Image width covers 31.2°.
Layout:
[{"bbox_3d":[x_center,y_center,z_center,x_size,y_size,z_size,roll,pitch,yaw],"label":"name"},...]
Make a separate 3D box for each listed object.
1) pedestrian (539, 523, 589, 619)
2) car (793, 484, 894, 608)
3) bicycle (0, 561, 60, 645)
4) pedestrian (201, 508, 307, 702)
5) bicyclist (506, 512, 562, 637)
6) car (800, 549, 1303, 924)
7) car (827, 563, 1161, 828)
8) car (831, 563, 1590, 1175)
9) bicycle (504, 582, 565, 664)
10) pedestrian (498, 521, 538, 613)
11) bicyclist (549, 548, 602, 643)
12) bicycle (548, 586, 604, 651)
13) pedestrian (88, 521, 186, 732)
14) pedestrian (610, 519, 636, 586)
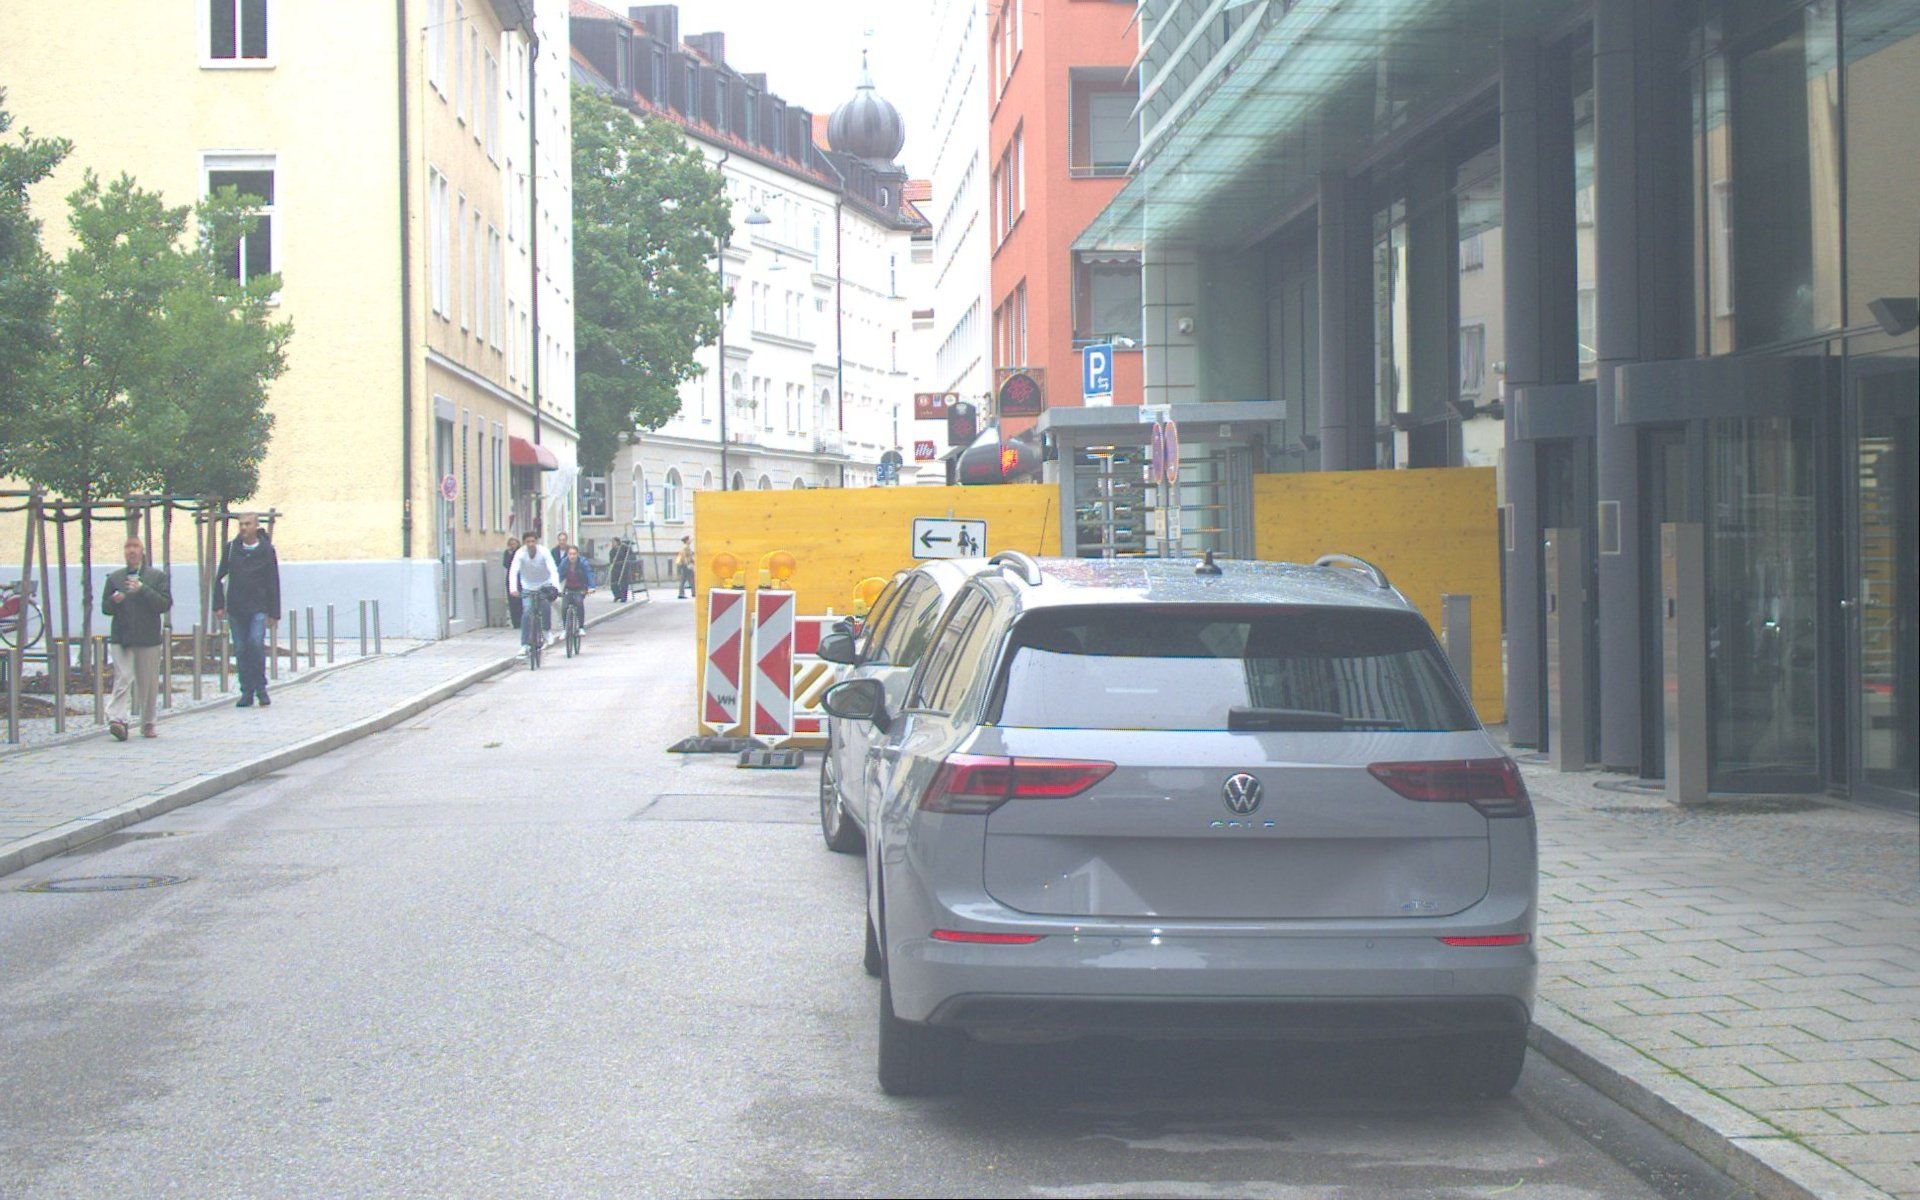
[{"bbox_3d":[-7.051,-0.519,61.313,0.839,1.695,0.803,0,1,-3],"label":"pedestrian"},{"bbox_3d":[-2.503,-1.143,72.878,1.993,2.528,4.976,0,1,-4],"label":"car"},{"bbox_3d":[-13.981,0.039,49.238,2.043,1.193,0.570,0,1,4],"label":"bicycle"},{"bbox_3d":[-6.932,0.044,33.798,0.867,1.875,1.135,0,1,-4],"label":"pedestrian"},{"bbox_3d":[-5.687,-0.343,45.945,0.659,1.637,0.895,-1,1,-3],"label":"bicyclist"},{"bbox_3d":[0.269,0.520,15.668,1.707,1.462,4.238,1,1,-6],"label":"car"},{"bbox_3d":[0.097,0.494,20.826,1.707,1.409,4.510,1,1,-3],"label":"car"},{"bbox_3d":[0.524,0.617,10.379,1.708,1.427,4.330,-1,1,-4],"label":"car"},{"bbox_3d":[-5.690,0.297,46.014,0.661,1.035,2.005,-1,1,-3],"label":"bicycle"},{"bbox_3d":[-7.908,-0.591,61.535,0.670,1.642,0.762,0,1,-4],"label":"pedestrian"},{"bbox_3d":[-5.655,-0.068,50.572,0.707,1.366,0.813,-1,1,-3],"label":"bicyclist"},{"bbox_3d":[-5.649,0.262,50.601,0.707,0.902,1.810,-1,1,-3],"label":"bicycle"},{"bbox_3d":[-6.601,0.207,27.595,0.647,1.671,0.724,0,1,-4],"label":"pedestrian"},{"bbox_3d":[-8.423,-1.190,86.005,0.634,1.669,0.518,0,1,-3],"label":"pedestrian"}]
